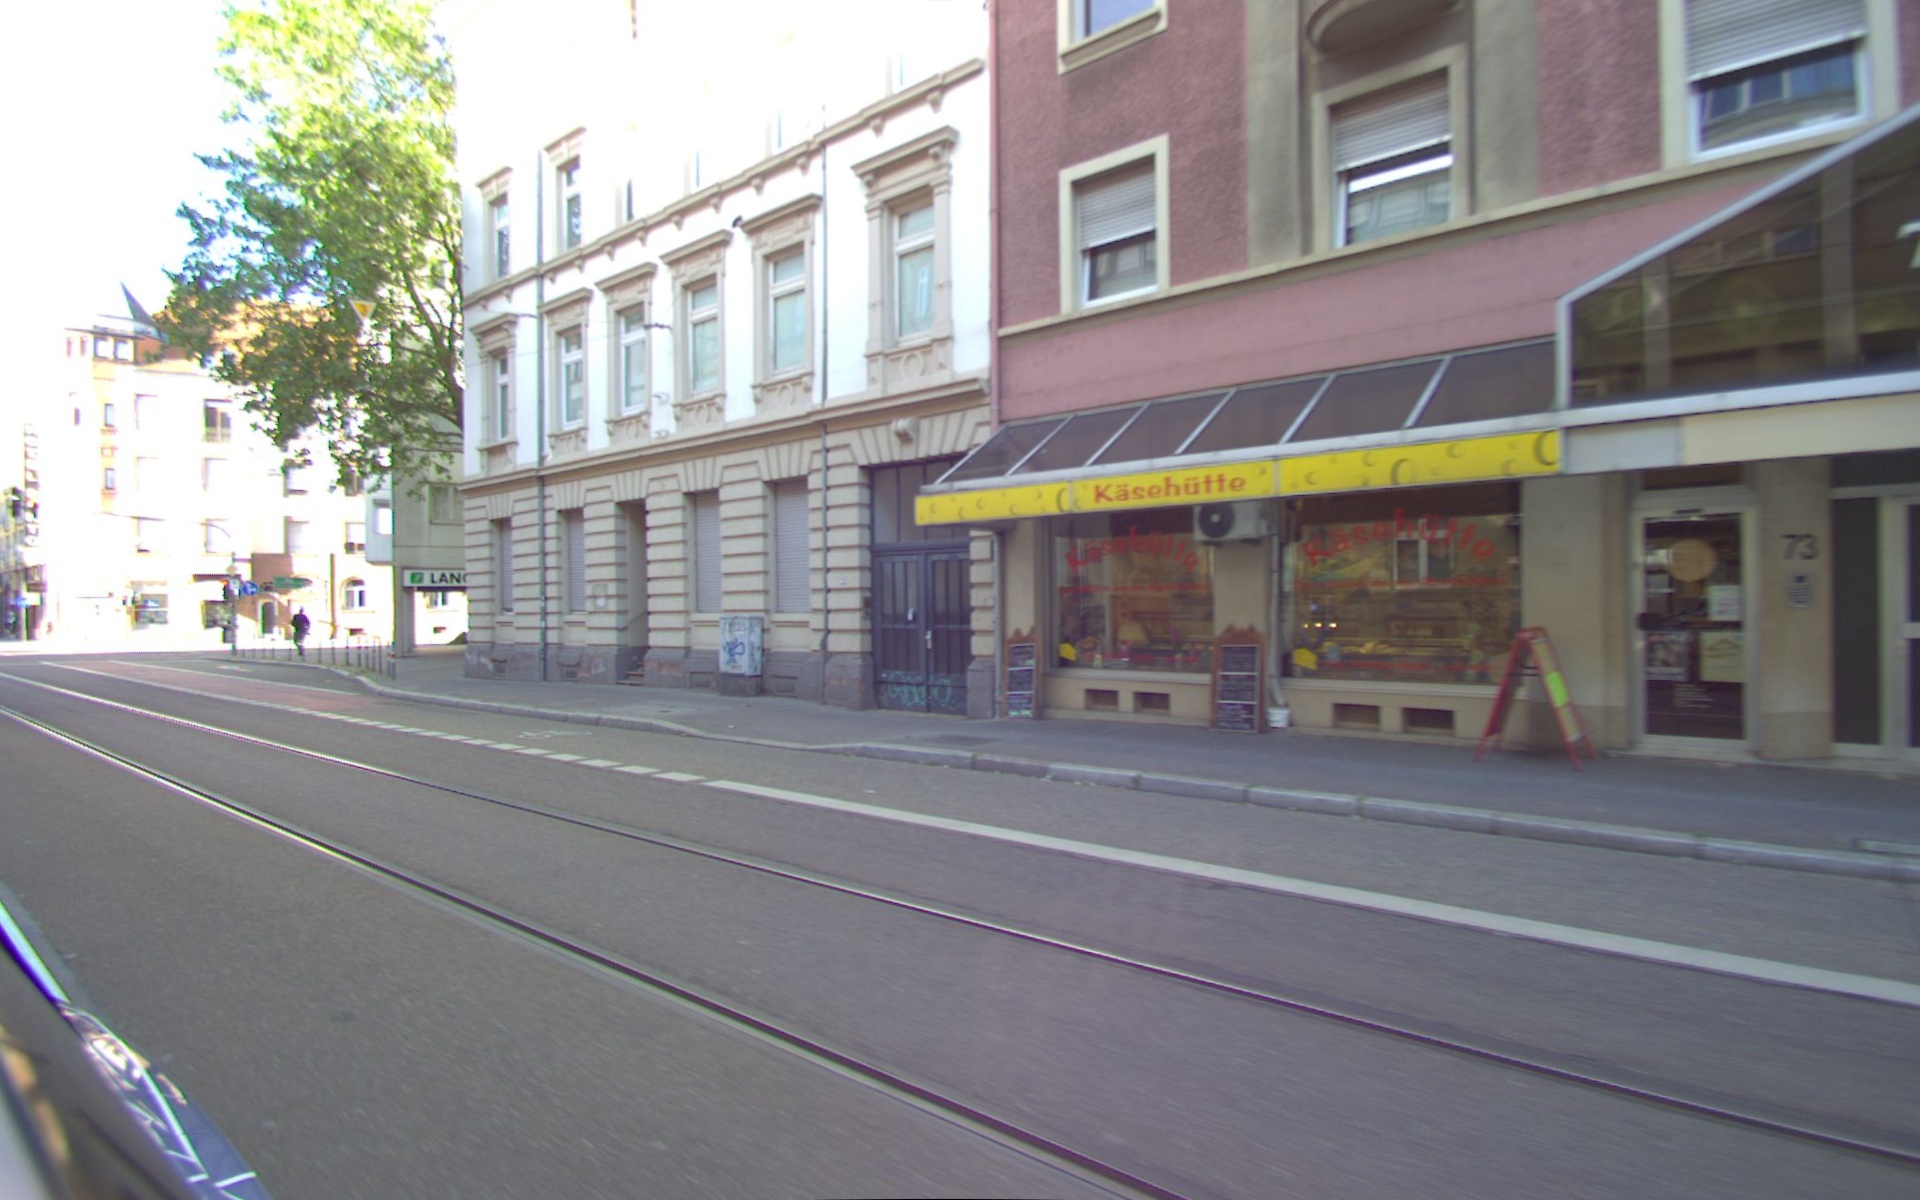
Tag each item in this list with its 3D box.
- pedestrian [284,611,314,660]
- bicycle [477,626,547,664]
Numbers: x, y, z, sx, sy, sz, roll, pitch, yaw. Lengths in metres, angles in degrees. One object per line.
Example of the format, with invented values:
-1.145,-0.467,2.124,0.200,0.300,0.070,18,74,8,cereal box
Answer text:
-25.650,1.360,39.288,0.809,1.861,0.784,-1,0,44,pedestrian
-14.416,1.448,32.620,2.012,1.134,0.708,-1,0,-22,bicycle
